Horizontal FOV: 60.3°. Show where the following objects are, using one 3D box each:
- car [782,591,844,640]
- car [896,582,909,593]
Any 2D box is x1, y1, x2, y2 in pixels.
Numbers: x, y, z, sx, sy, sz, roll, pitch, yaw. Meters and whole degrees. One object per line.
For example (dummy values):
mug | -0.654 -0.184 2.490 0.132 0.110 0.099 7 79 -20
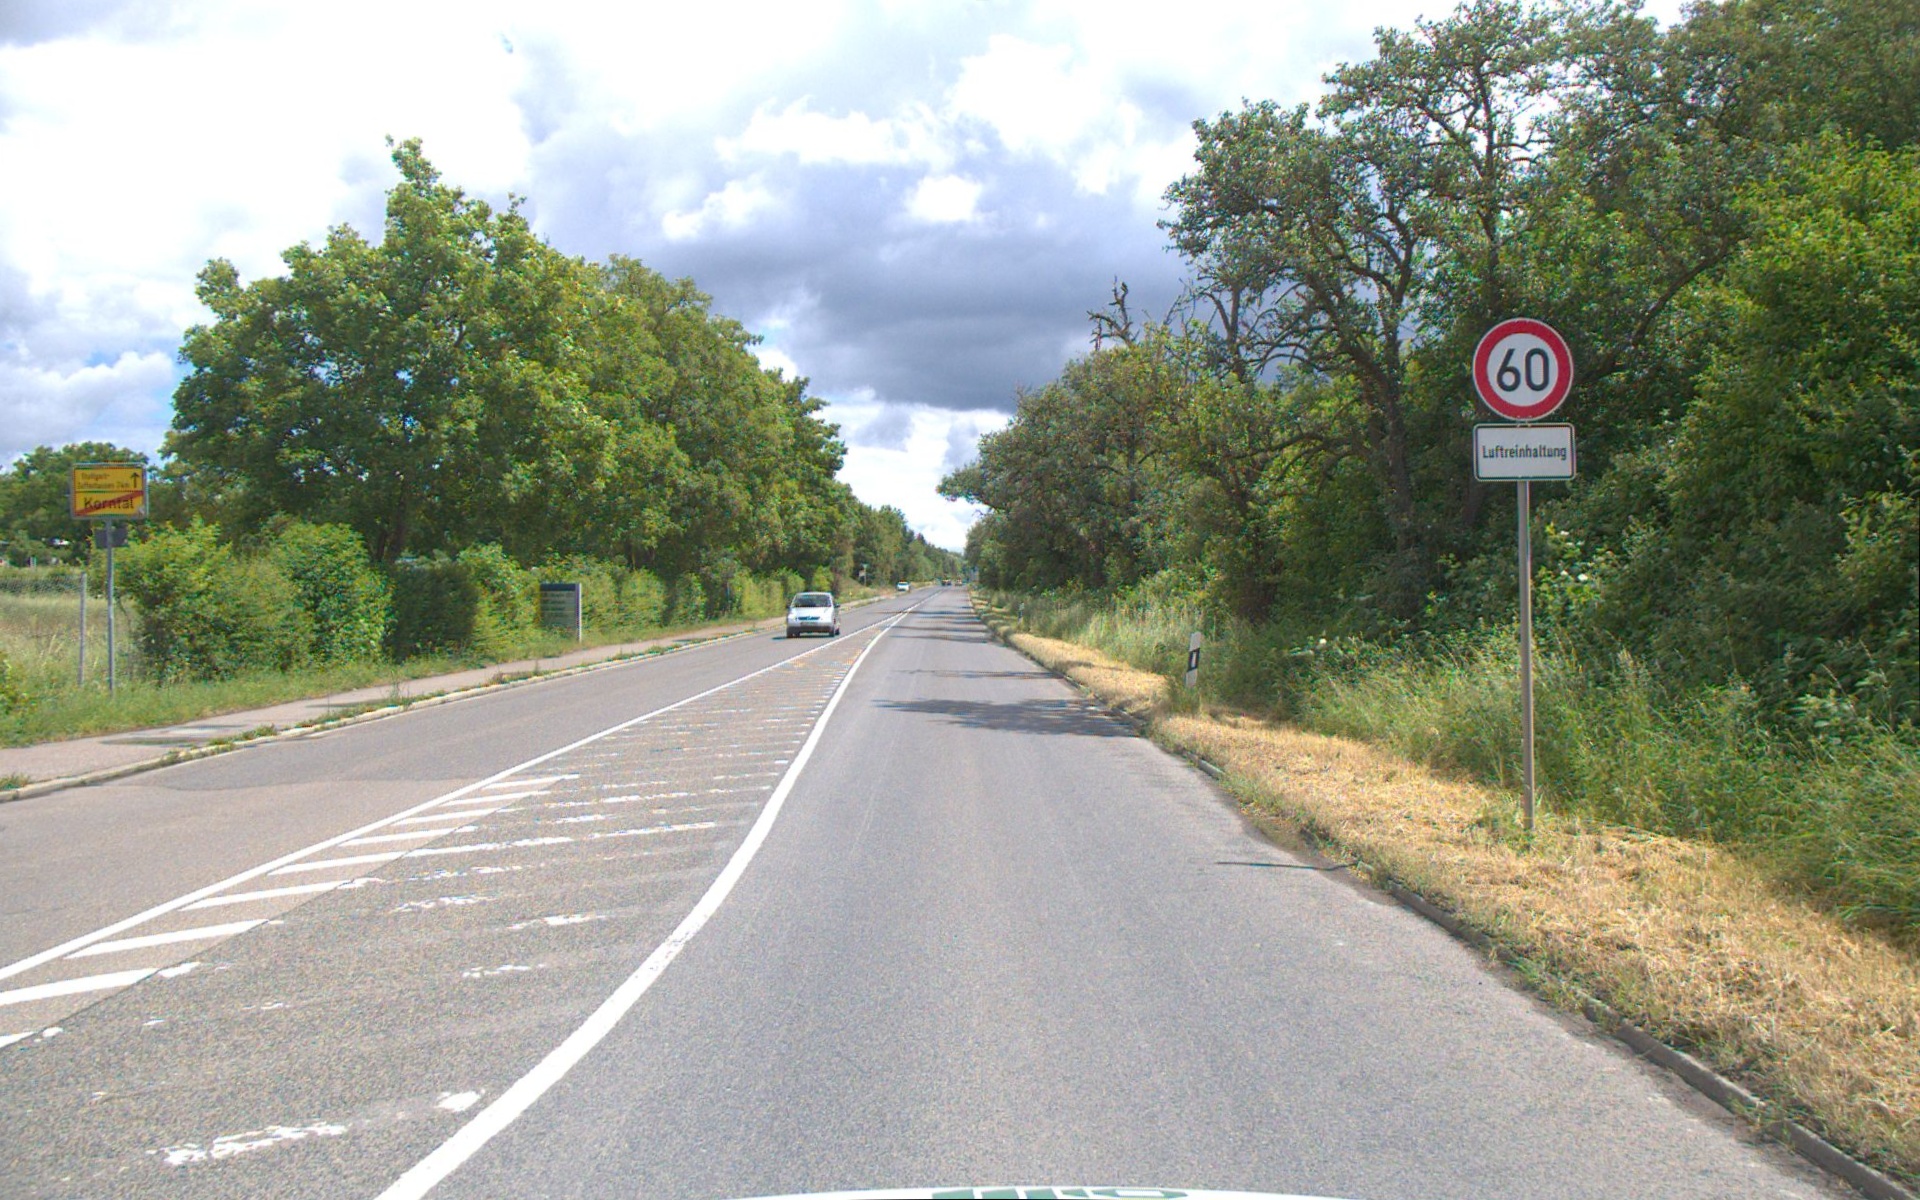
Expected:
car | -4.793 0.487 54.223 1.626 1.457 3.693 -2 1 0
car | -8.736 -1.923 250.721 1.761 1.570 3.954 0 -1 0
